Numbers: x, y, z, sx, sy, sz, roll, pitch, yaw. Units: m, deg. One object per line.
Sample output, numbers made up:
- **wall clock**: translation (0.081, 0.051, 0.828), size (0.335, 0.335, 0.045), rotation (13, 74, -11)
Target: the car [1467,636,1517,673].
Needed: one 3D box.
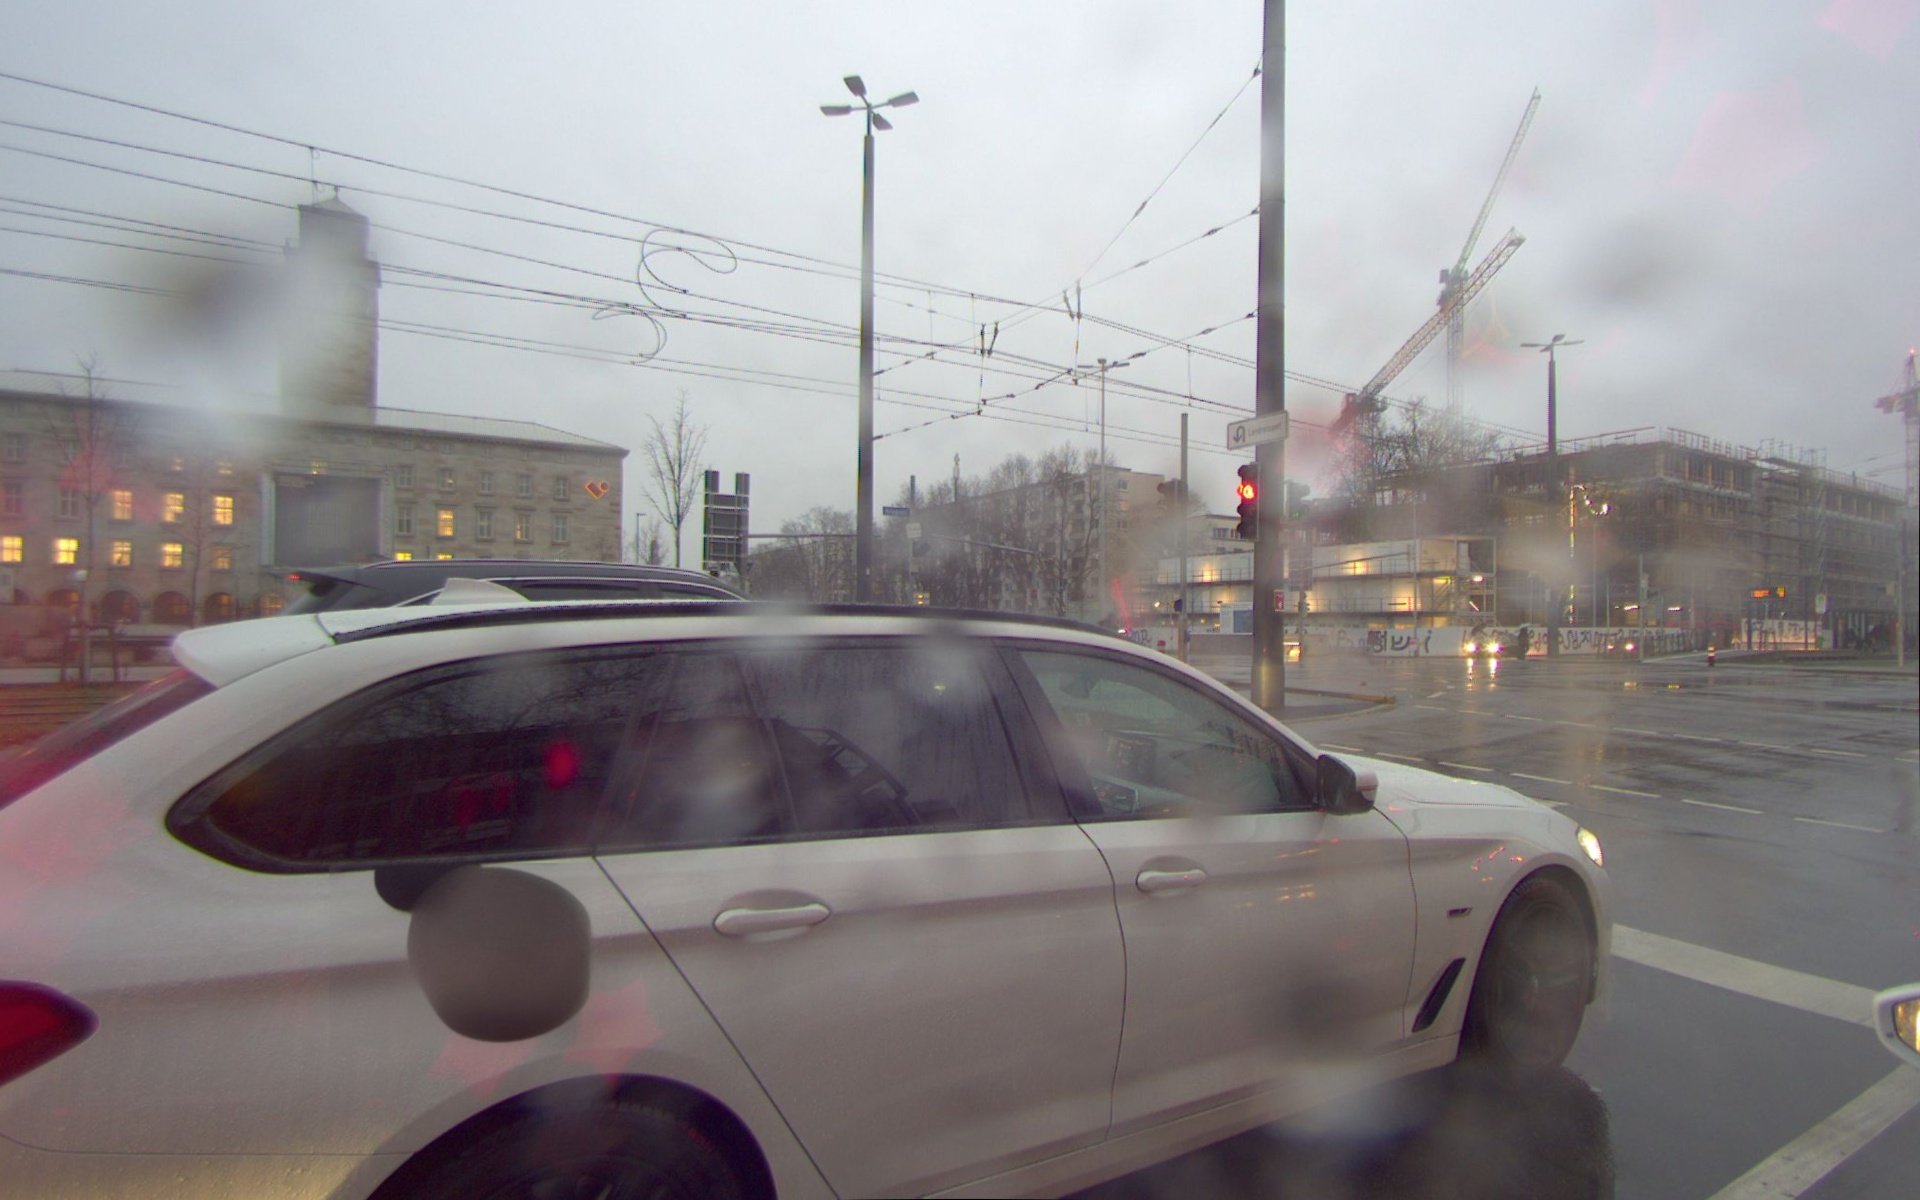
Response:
- **car**: translation (31.208, 3.161, 58.846), size (1.736, 2.040, 3.980), rotation (-1, -2, 41)

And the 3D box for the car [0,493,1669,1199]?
- **car**: translation (-0.100, 0.702, 3.009), size (4.868, 1.540, 1.900), rotation (2, -2, -32)

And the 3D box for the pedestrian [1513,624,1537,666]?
- **pedestrian**: translation (27.230, 2.160, 48.424), size (0.741, 2.040, 0.785), rotation (2, -2, -40)

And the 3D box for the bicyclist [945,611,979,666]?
- **bicyclist**: translation (0.072, 1.332, 34.906), size (0.715, 1.863, 0.986), rotation (2, -2, -39)

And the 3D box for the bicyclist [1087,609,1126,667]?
- **bicyclist**: translation (4.428, 1.142, 30.403), size (0.612, 1.719, 1.026), rotation (2, -2, -36)

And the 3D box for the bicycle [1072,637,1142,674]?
- **bicycle**: translation (4.424, 1.658, 30.381), size (0.612, 1.046, 2.356), rotation (2, -2, -36)

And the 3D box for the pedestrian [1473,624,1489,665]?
- **pedestrian**: translation (25.784, 2.193, 49.675), size (0.635, 2.040, 0.503), rotation (3, -3, -40)

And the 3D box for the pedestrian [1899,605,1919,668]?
- **pedestrian**: translation (32.256, 1.226, 33.843), size (0.674, 2.115, 0.613), rotation (0, -1, 20)

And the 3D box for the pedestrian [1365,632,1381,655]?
- **pedestrian**: translation (27.121, 2.851, 65.899), size (0.780, 1.549, 0.646), rotation (1, -2, 0)

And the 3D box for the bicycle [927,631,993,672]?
- **bicycle**: translation (-0.012, 1.790, 35.038), size (0.714, 1.380, 2.809), rotation (2, -3, -38)

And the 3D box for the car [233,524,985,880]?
- **car**: translation (-2.166, 0.578, 6.988), size (4.564, 1.766, 1.692), rotation (2, -2, -34)

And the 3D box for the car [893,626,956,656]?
- **car**: translation (-2.115, 2.416, 59.340), size (1.978, 1.706, 3.965), rotation (1, -2, -33)
